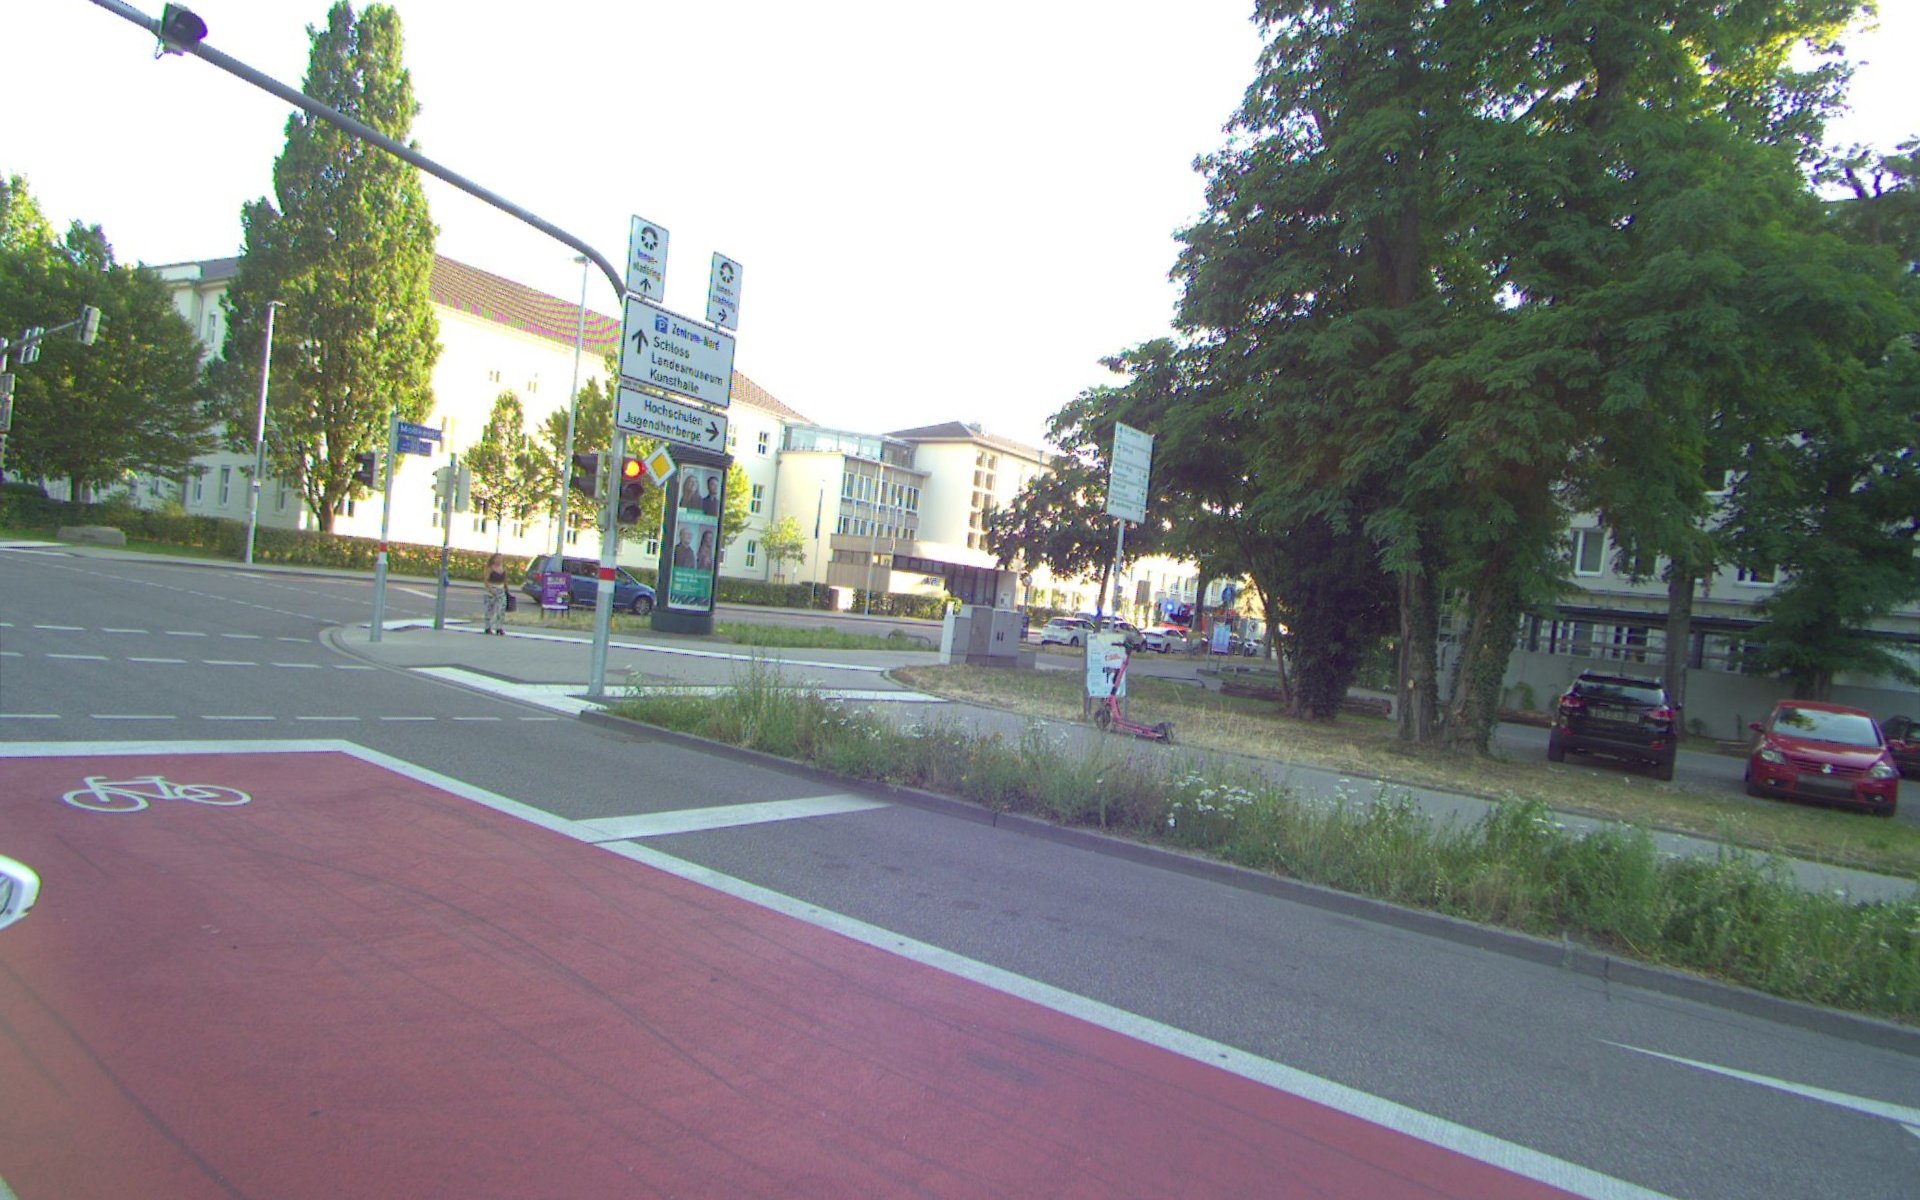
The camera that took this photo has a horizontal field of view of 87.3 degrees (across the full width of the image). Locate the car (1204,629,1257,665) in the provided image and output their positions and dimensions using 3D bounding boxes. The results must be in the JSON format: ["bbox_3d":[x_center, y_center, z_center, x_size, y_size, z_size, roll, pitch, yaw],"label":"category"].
[{"bbox_3d":[17.217,3.033,63.859,1.789,1.893,4.136,7,-1,35],"label":"car"}]

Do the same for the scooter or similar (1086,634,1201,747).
[{"bbox_3d":[2.324,1.137,12.808,1.289,1.247,0.311,7,1,32],"label":"scooter or similar"}]

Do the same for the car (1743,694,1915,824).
[{"bbox_3d":[13.989,2.454,16.403,1.759,1.581,3.984,7,0,38],"label":"car"}]

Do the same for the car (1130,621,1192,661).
[{"bbox_3d":[11.069,2.270,55.106,1.720,1.783,3.989,7,-1,35],"label":"car"}]

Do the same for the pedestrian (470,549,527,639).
[{"bbox_3d":[-9.054,-0.122,19.744,0.680,1.656,0.600,8,1,36],"label":"pedestrian"}]

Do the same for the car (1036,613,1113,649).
[{"bbox_3d":[5.472,1.493,47.709,1.793,1.358,3.985,6,0,37],"label":"car"}]

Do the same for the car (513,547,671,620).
[{"bbox_3d":[-11.761,-0.495,32.268,4.266,1.742,1.833,7,2,-42],"label":"car"}]

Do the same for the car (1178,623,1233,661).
[{"bbox_3d":[14.602,2.496,59.729,1.698,1.879,3.989,7,-1,35],"label":"car"}]

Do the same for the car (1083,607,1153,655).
[{"bbox_3d":[8.060,1.585,51.189,1.713,2.038,3.988,7,-1,36],"label":"car"}]

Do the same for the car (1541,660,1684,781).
[{"bbox_3d":[11.760,2.111,18.065,1.808,1.715,3.899,7,-1,36],"label":"car"}]

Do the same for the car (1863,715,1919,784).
[{"bbox_3d":[23.175,3.622,24.033,1.873,1.459,3.987,7,-1,37],"label":"car"}]

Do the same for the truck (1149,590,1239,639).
[{"bbox_3d":[15.855,1.062,67.464,2.327,2.315,10.049,7,-1,34],"label":"truck"}]

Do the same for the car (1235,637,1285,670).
[{"bbox_3d":[20.367,3.658,68.237,1.873,1.831,3.988,7,-1,36],"label":"car"}]

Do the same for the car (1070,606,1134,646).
[{"bbox_3d":[7.841,1.434,55.243,1.720,1.783,3.989,7,-1,35],"label":"car"}]
